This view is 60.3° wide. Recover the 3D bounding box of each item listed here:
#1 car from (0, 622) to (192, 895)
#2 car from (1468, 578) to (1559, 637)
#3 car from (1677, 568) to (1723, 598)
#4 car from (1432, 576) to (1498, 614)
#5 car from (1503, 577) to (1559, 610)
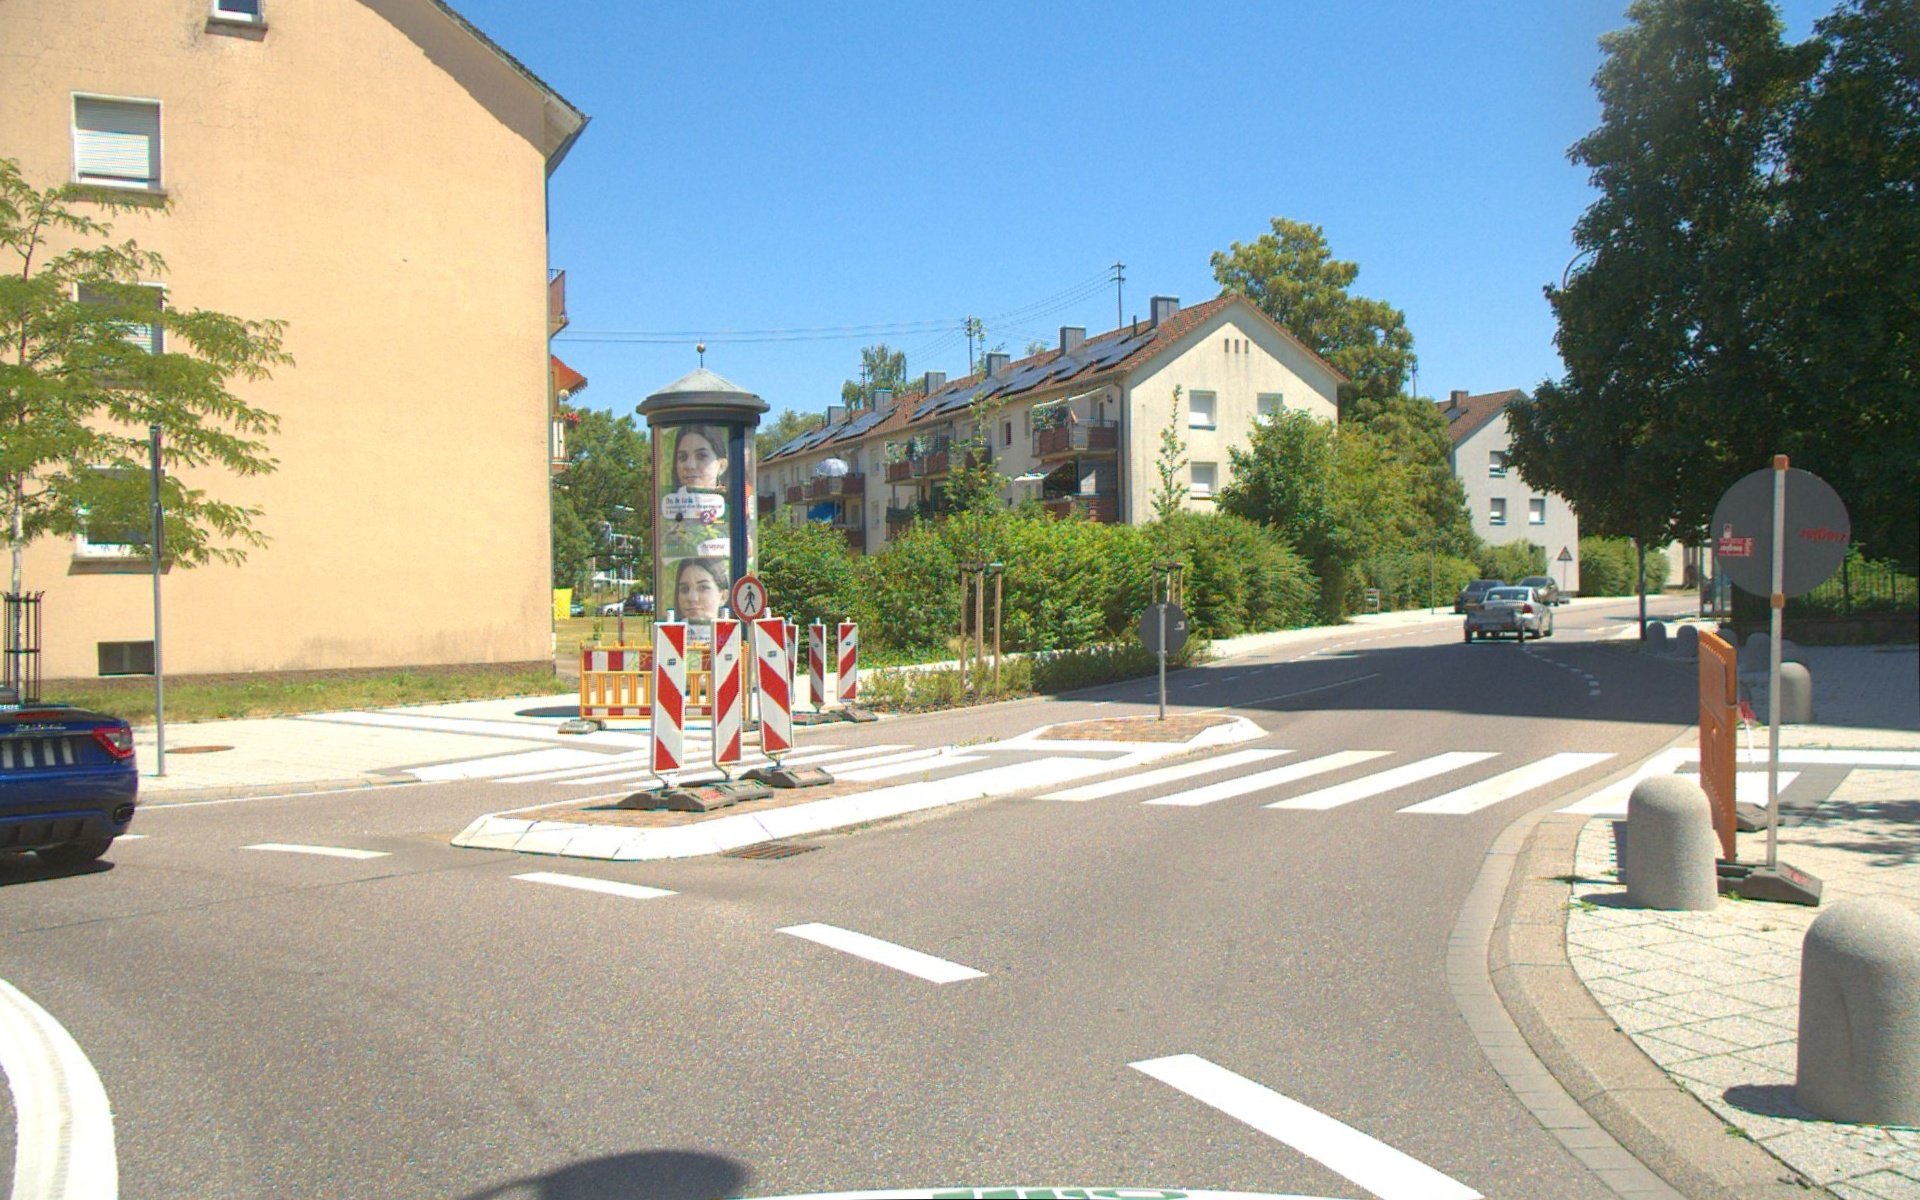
[{"bbox_3d":[-7.309,1.046,10.993,4.410,1.557,1.872,-4,-1,32],"label":"car"},{"bbox_3d":[15.284,0.174,45.567,1.705,1.461,3.705,-3,0,28],"label":"car"},{"bbox_3d":[39.590,-0.905,88.411,1.707,1.461,3.701,-3,0,32],"label":"car"},{"bbox_3d":[21.524,-0.208,70.401,1.708,1.461,3.700,-3,0,33],"label":"car"},{"bbox_3d":[28.029,-0.320,81.114,1.708,1.461,3.700,-3,0,33],"label":"car"}]
